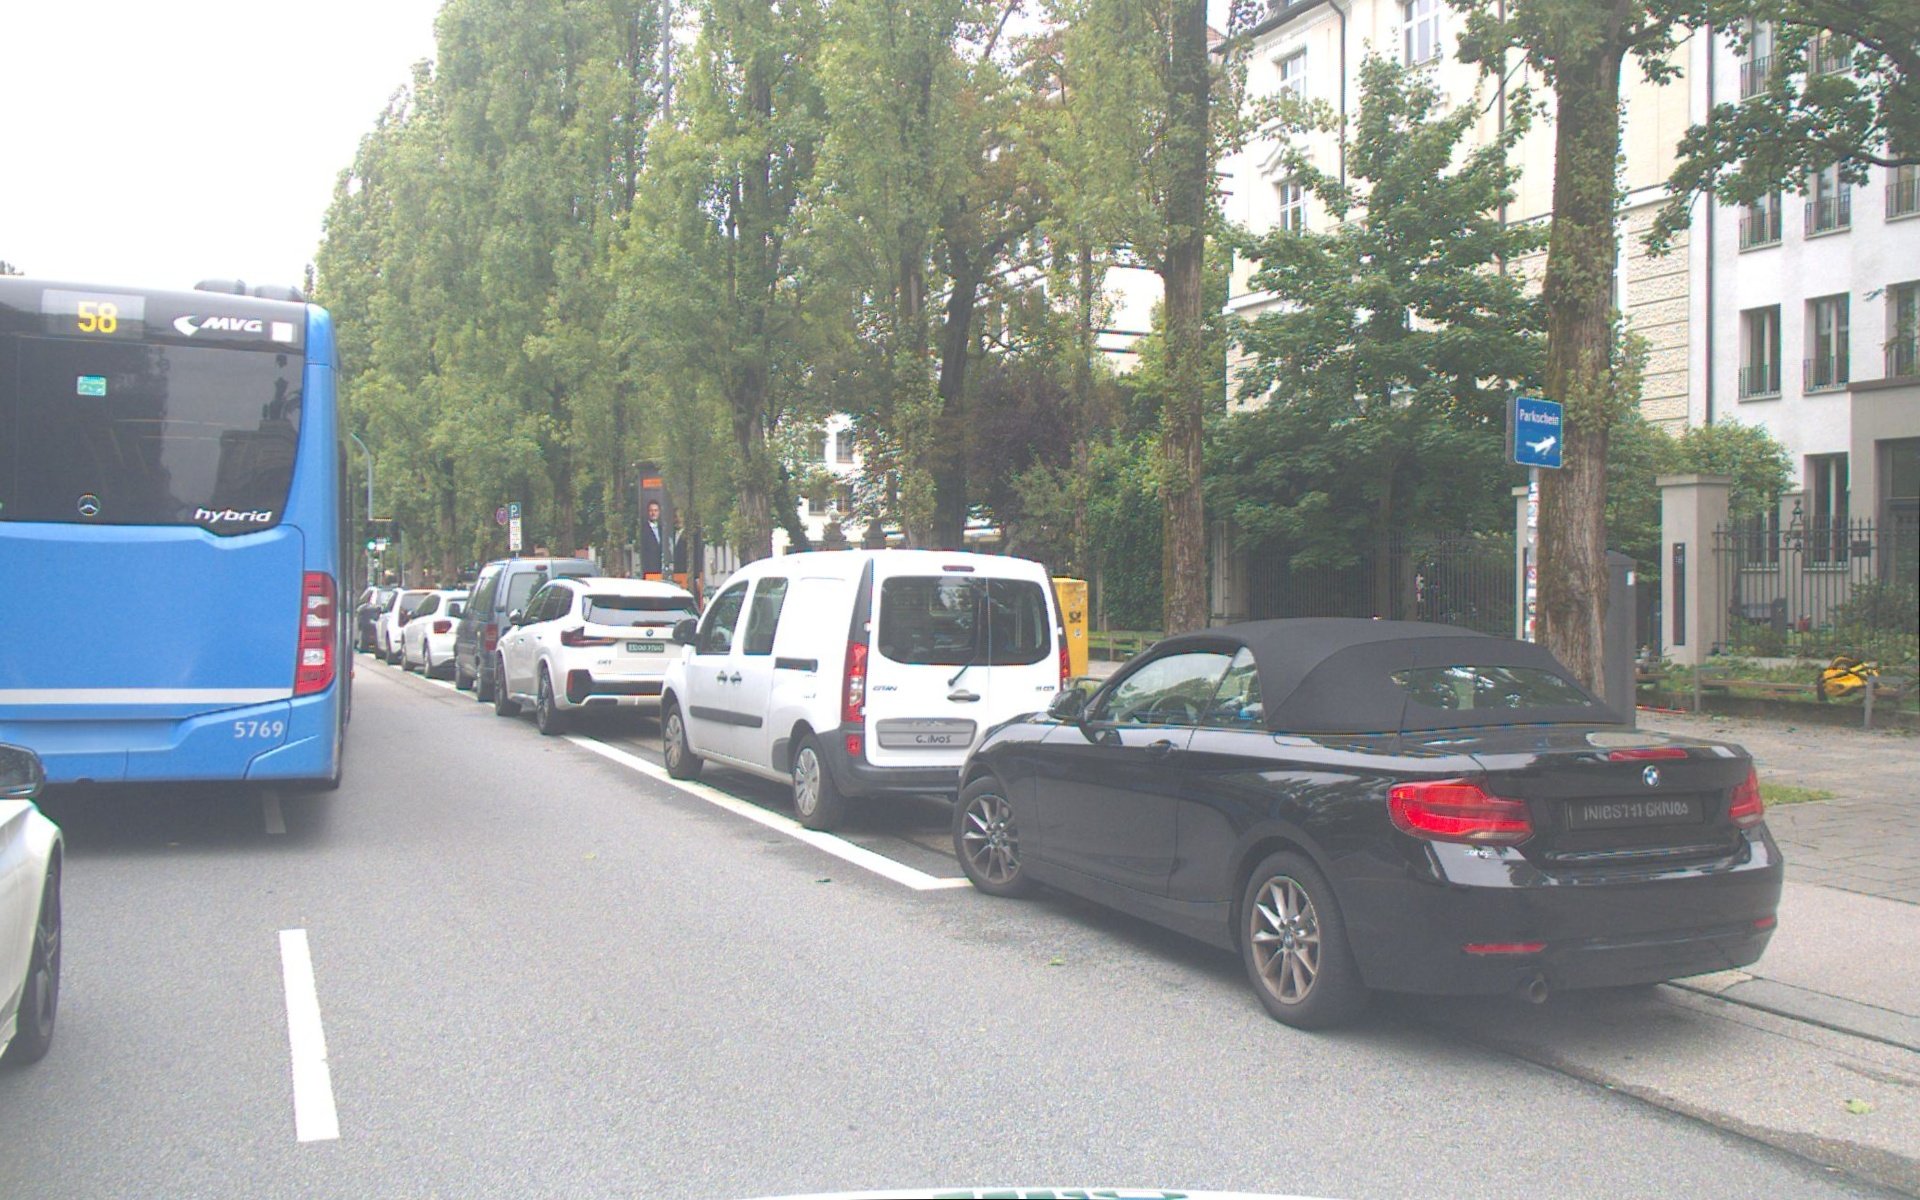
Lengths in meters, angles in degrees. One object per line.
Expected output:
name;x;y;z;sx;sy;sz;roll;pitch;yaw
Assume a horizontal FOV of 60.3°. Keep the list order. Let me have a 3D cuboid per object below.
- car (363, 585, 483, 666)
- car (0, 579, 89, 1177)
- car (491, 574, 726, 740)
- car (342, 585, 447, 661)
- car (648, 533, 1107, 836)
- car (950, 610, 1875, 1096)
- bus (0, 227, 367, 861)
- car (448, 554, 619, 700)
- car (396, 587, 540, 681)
car;-10.944;0.469;33.553;1.764;1.518;3.966;0;1;-26
car;-2.995;0.681;3.251;1.800;1.480;4.551;1;0;-22
car;-4.026;0.553;18.454;1.656;1.624;4.054;1;0;-25
car;-13.094;0.484;38.202;1.787;1.646;3.965;0;1;-27
car;-0.809;0.512;12.141;1.811;1.804;4.194;2;0;-27
car;1.536;0.763;7.096;1.724;1.378;3.970;0;1;-24
bus;-6.161;-0.339;12.879;2.813;3.269;9.008;0;1;-19
car;-6.070;0.334;23.264;1.681;1.868;3.970;1;0;-24
car;-8.679;0.529;28.983;1.777;1.501;3.966;0;1;-27
